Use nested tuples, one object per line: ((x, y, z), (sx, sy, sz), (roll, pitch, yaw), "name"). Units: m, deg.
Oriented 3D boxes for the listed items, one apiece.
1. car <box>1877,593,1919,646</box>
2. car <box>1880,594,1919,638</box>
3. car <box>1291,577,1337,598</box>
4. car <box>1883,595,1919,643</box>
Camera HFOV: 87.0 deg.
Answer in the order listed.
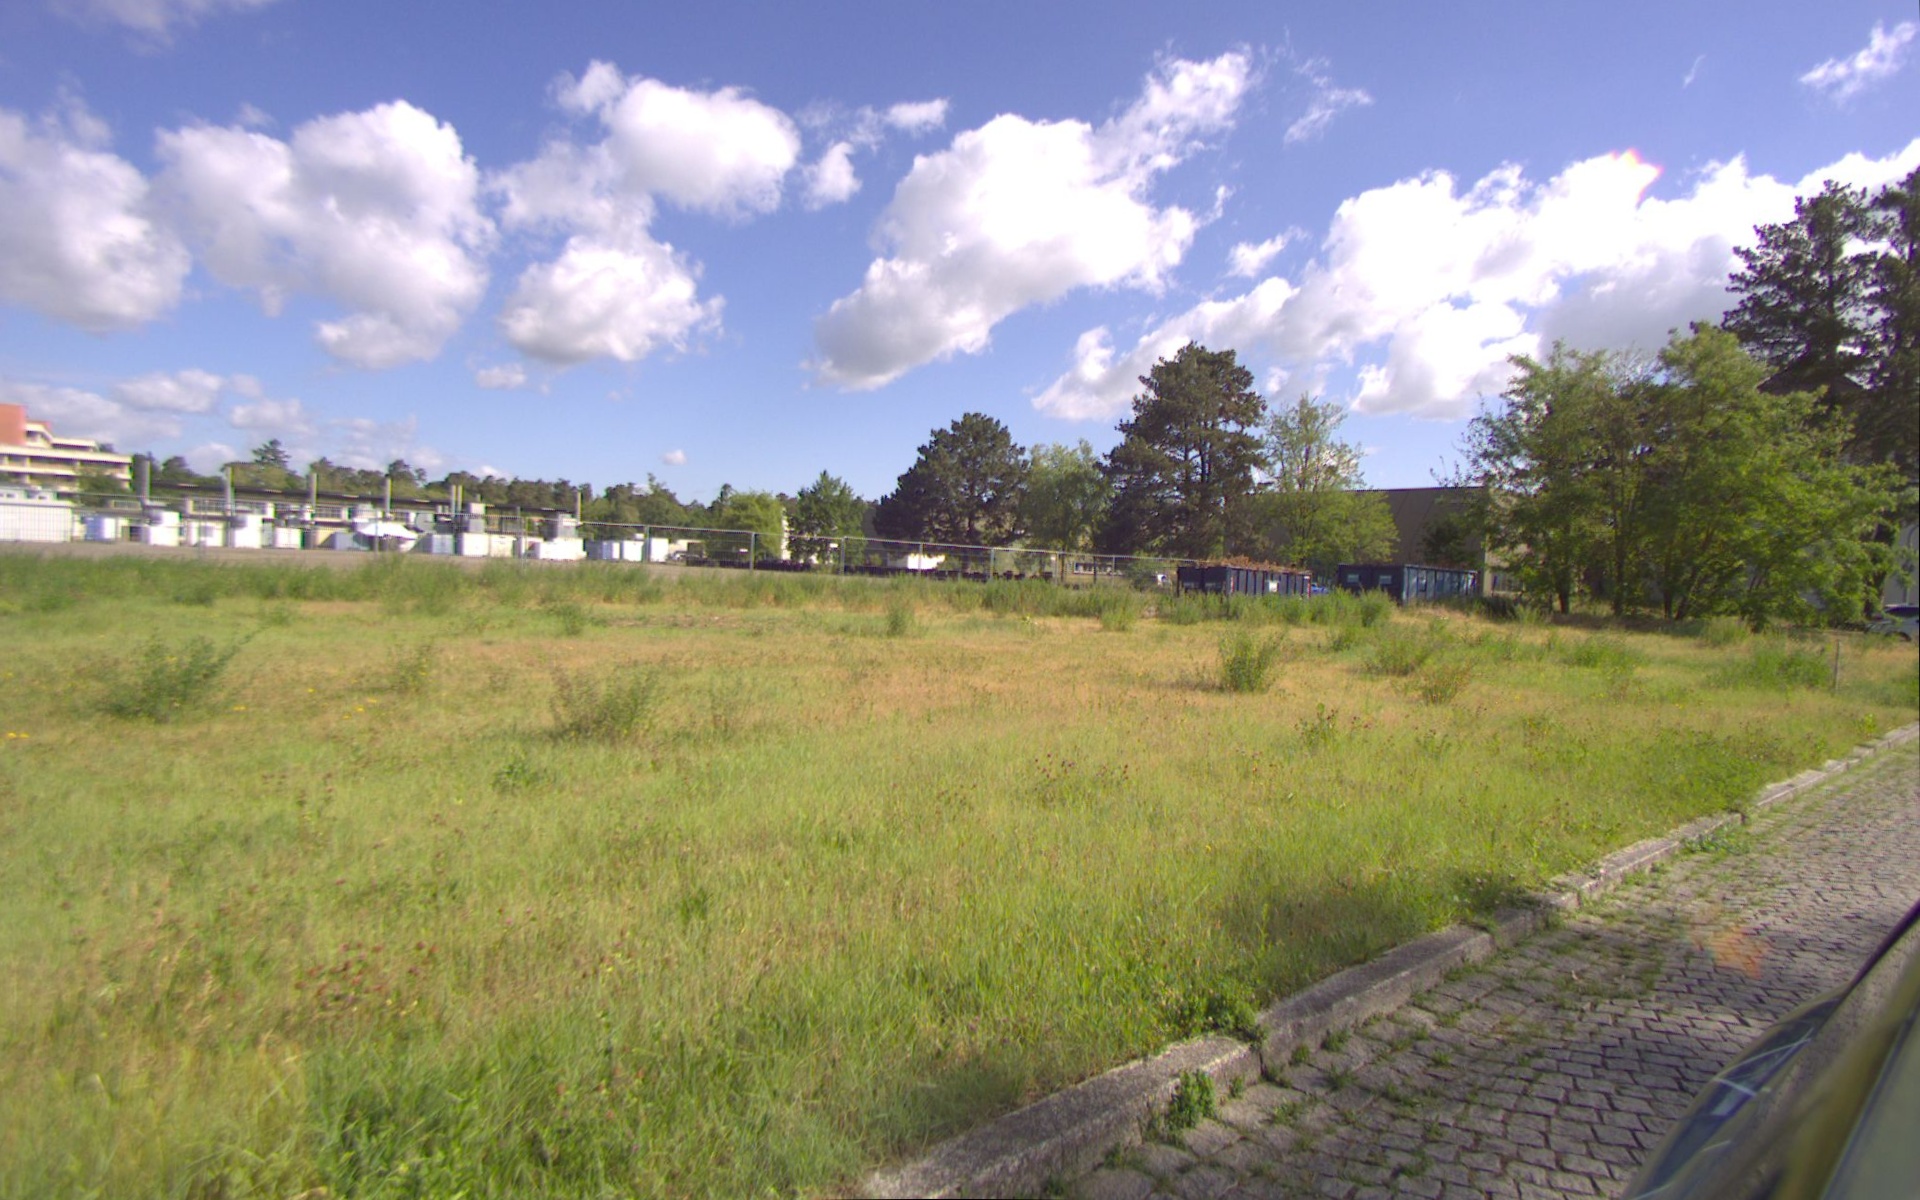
((30.118, 0.741, 30.232), (1.721, 1.493, 3.751), (1, 6, -41), "car")
((35.731, 0.730, 35.748), (1.807, 1.482, 4.523), (0, 5, -42), "car")
((30.383, -1.119, 86.782), (3.987, 1.582, 1.861), (-3, 5, -37), "car")
((32.128, 0.789, 32.034), (1.812, 1.458, 4.015), (1, 5, -41), "car")
